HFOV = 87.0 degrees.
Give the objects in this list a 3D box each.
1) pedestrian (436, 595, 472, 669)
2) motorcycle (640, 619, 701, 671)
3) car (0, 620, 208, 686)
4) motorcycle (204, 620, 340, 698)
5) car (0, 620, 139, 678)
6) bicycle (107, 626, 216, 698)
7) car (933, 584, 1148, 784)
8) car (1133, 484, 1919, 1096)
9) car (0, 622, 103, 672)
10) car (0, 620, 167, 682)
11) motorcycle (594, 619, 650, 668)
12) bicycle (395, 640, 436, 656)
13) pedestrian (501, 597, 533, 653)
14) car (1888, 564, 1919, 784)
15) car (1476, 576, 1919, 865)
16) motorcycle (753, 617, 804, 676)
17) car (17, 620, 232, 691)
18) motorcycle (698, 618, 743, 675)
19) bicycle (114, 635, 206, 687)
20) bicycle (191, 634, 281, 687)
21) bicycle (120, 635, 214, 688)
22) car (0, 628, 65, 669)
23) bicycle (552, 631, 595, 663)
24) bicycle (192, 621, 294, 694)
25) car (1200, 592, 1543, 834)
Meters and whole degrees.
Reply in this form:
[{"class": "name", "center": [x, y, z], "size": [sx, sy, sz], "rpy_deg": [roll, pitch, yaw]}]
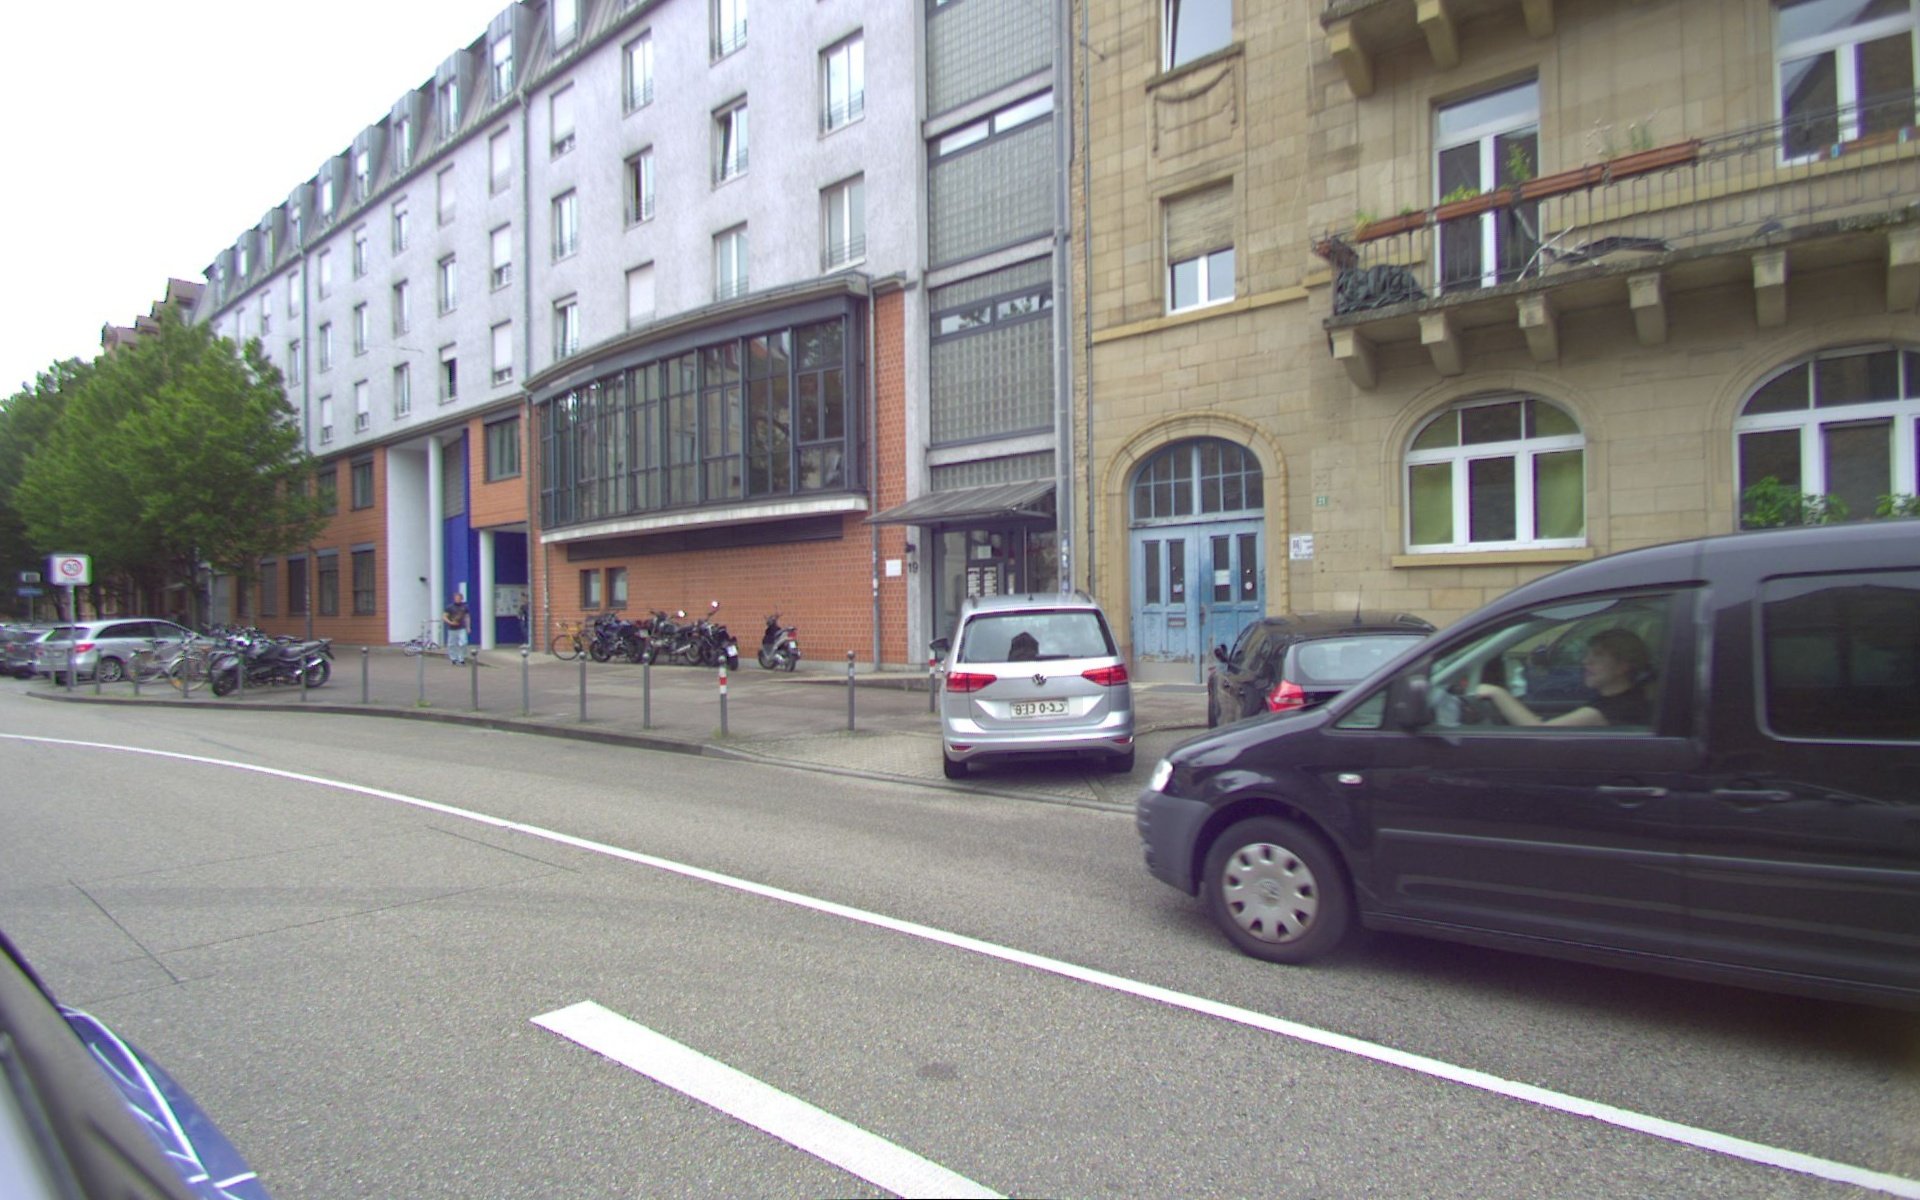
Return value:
[{"class": "pedestrian", "center": [-12.827, 0.802, 25.650], "size": [0.642, 1.837, 0.613], "rpy_deg": [-2, -1, 41]}, {"class": "motorcycle", "center": [-6.468, 0.990, 22.569], "size": [1.762, 1.106, 0.440], "rpy_deg": [-2, -1, 42]}, {"class": "car", "center": [-23.306, 1.397, 27.735], "size": [1.983, 1.641, 3.977], "rpy_deg": [-1, -1, 18]}, {"class": "motorcycle", "center": [-13.465, 1.127, 19.859], "size": [0.599, 1.363, 2.096], "rpy_deg": [-2, 1, 41]}, {"class": "car", "center": [-28.171, 1.483, 31.245], "size": [1.983, 1.641, 3.977], "rpy_deg": [-1, -1, 18]}, {"class": "bicycle", "center": [-15.803, 1.199, 20.064], "size": [0.416, 1.299, 1.610], "rpy_deg": [-2, 1, 39]}, {"class": "car", "center": [0.703, 0.666, 10.358], "size": [1.710, 1.565, 3.999], "rpy_deg": [-2, 1, 1]}, {"class": "car", "center": [2.929, 0.585, 4.019], "size": [4.123, 1.817, 1.677], "rpy_deg": [-2, -2, 38]}, {"class": "car", "center": [-32.653, 1.612, 35.145], "size": [1.983, 1.641, 3.977], "rpy_deg": [-1, -1, 18]}, {"class": "car", "center": [-25.950, 1.444, 29.586], "size": [1.983, 1.641, 3.977], "rpy_deg": [-1, -1, 18]}, {"class": "motorcycle", "center": [-7.993, 1.010, 23.873], "size": [1.762, 1.106, 0.440], "rpy_deg": [-2, -1, 42]}, {"class": "bicycle", "center": [-16.668, 1.466, 30.972], "size": [0.527, 0.440, 0.997], "rpy_deg": [1, 0, 42]}, {"class": "pedestrian", "center": [-13.498, 0.756, 30.826], "size": [0.622, 1.662, 0.677], "rpy_deg": [-1, 0, 42]}, {"class": "car", "center": [7.583, 0.539, 5.381], "size": [1.681, 1.565, 3.997], "rpy_deg": [-2, 1, 3]}, {"class": "car", "center": [5.239, 0.607, 7.130], "size": [1.804, 1.456, 3.737], "rpy_deg": [-2, 1, 10]}, {"class": "motorcycle", "center": [-3.598, 0.901, 19.938], "size": [0.438, 1.106, 1.768], "rpy_deg": [0, -1, -29]}, {"class": "car", "center": [-21.296, 1.352, 25.994], "size": [1.758, 1.641, 3.977], "rpy_deg": [-1, -1, 18]}, {"class": "motorcycle", "center": [-4.951, 0.938, 20.835], "size": [0.438, 1.106, 1.768], "rpy_deg": [0, -1, -29]}, {"class": "bicycle", "center": [-18.462, 1.393, 23.383], "size": [0.416, 1.082, 1.610], "rpy_deg": [-2, 1, 39]}, {"class": "bicycle", "center": [-16.563, 1.365, 23.189], "size": [0.416, 1.082, 1.610], "rpy_deg": [-2, 1, 39]}, {"class": "bicycle", "center": [-18.042, 1.389, 23.048], "size": [0.416, 1.082, 1.610], "rpy_deg": [-2, 1, 39]}, {"class": "car", "center": [-37.723, 1.901, 39.412], "size": [1.723, 1.508, 3.977], "rpy_deg": [-1, -1, 18]}, {"class": "bicycle", "center": [-9.819, 1.191, 25.707], "size": [1.581, 0.793, 0.332], "rpy_deg": [-2, -1, 42]}, {"class": "bicycle", "center": [-14.482, 1.135, 20.474], "size": [0.416, 1.363, 1.610], "rpy_deg": [-2, 1, 39]}, {"class": "car", "center": [3.090, 0.730, 8.477], "size": [1.713, 1.449, 3.990], "rpy_deg": [-2, 1, 9]}]
